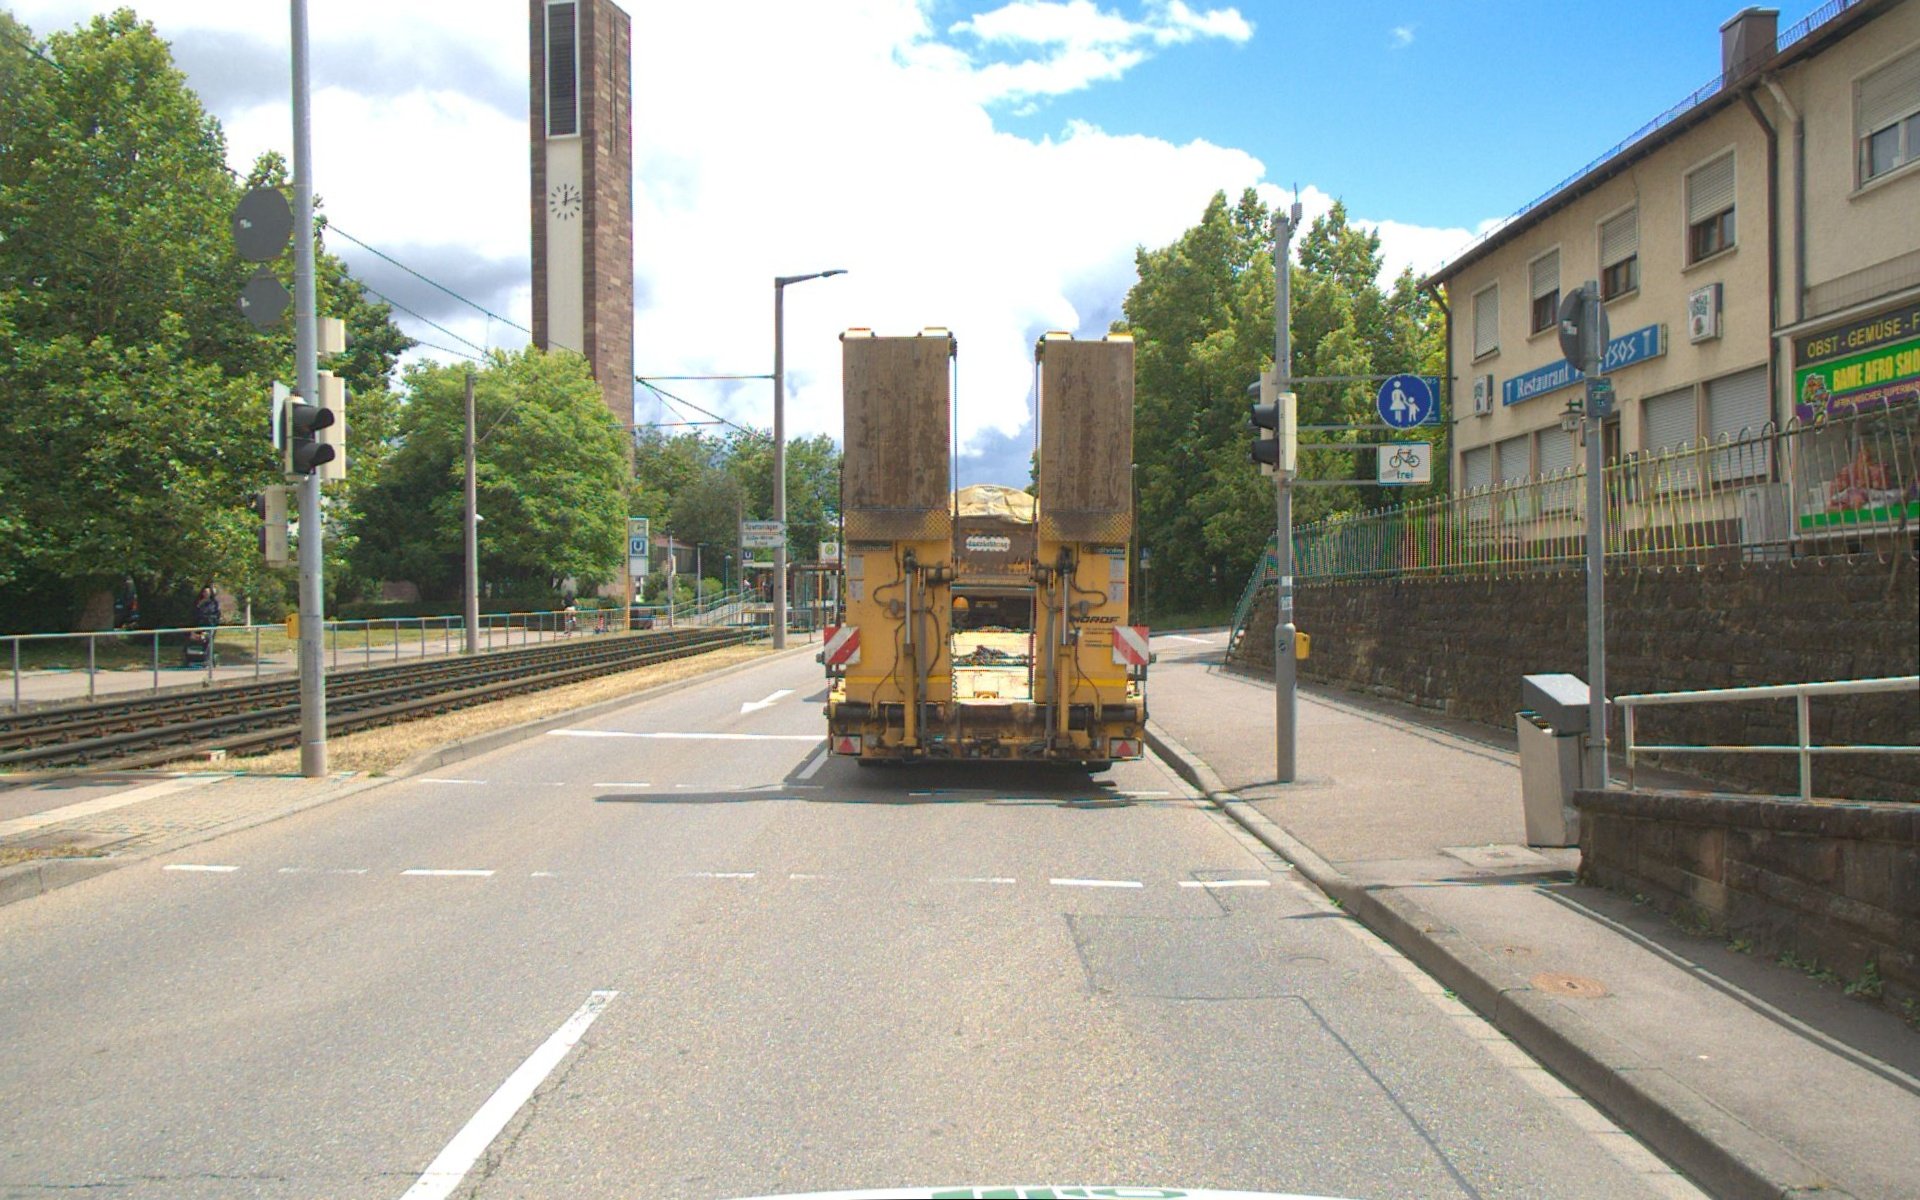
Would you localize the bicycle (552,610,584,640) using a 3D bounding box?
[{"bbox_3d":[-14.058,0.886,59.325,0.624,1.011,1.928,1,0,1],"label":"bicycle"}]

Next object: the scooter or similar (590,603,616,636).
[{"bbox_3d":[-13.953,0.747,64.673,0.636,1.258,1.401,1,1,1],"label":"scooter or similar"}]

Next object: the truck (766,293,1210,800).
[{"bbox_3d":[0.026,-0.392,19.328,3.333,3.798,13.733,0,0,-2],"label":"truck"}]

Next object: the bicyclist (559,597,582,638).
[{"bbox_3d":[-14.063,0.613,59.720,0.620,1.454,0.790,1,0,1],"label":"bicyclist"}]

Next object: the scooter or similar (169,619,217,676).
[{"bbox_3d":[-15.541,0.950,33.532,0.592,1.134,0.821,0,0,-1],"label":"scooter or similar"}]

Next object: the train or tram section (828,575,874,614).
[{"bbox_3d":[-10.568,-0.435,162.271,3.044,3.525,18.826,1,0,1],"label":"train or tram section"}]

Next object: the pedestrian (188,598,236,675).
[{"bbox_3d":[-15.557,0.747,34.397,0.600,1.567,0.874,0,0,-1],"label":"pedestrian"}]

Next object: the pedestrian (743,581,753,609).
[{"bbox_3d":[-13.673,-0.341,106.714,0.572,1.809,0.576,1,-1,1],"label":"pedestrian"}]

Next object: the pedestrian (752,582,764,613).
[{"bbox_3d":[-13.657,-0.158,111.791,0.697,2.049,0.731,1,-1,-1],"label":"pedestrian"}]
